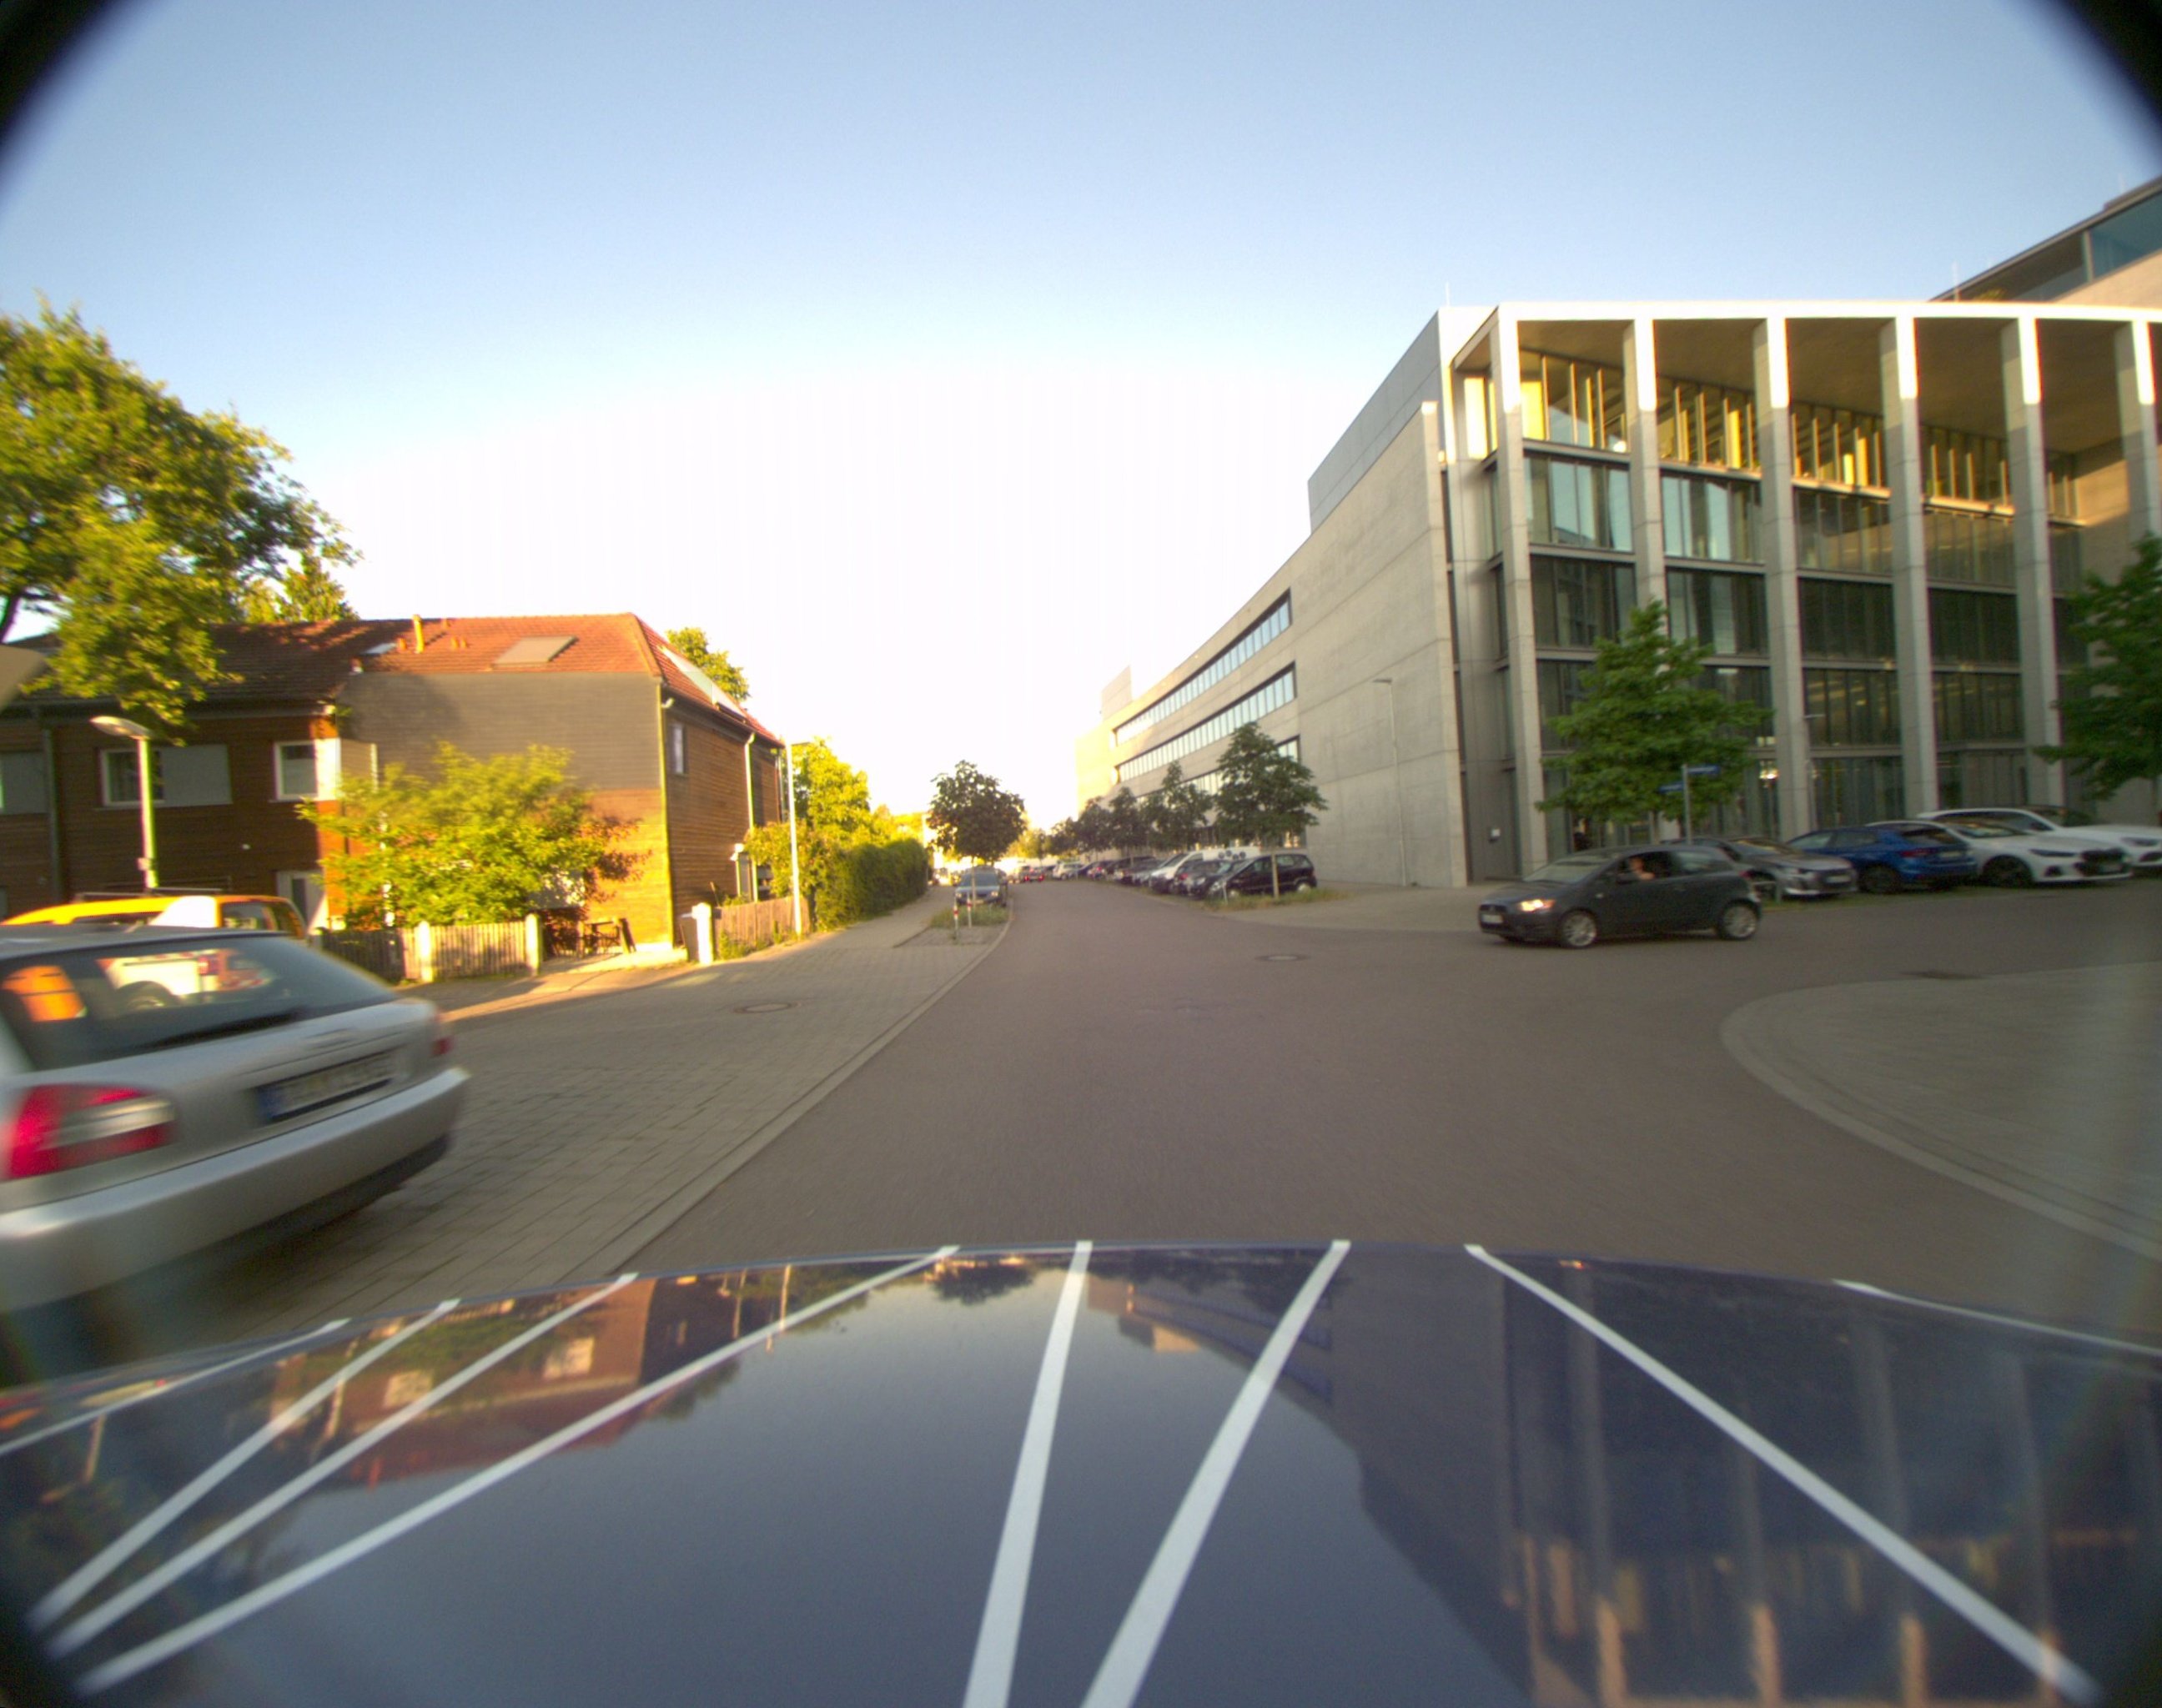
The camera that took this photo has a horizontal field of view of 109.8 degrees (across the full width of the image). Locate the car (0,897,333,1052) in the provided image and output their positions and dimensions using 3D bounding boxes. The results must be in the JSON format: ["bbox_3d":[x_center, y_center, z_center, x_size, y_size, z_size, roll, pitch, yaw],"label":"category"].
[{"bbox_3d":[-13.363,1.625,10.522,3.952,1.755,1.782,-3,-1,-7],"label":"car"}]

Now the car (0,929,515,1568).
[{"bbox_3d":[-4.746,1.121,2.611,4.067,1.399,1.896,-2,0,-4],"label":"car"}]

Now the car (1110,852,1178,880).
[{"bbox_3d":[3.878,0.752,46.915,3.813,1.353,1.798,-5,0,-6],"label":"car"}]

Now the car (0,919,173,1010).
[{"bbox_3d":[-20.968,2.204,14.895,1.956,1.447,3.608,-3,0,-2],"label":"car"}]

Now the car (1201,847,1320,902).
[{"bbox_3d":[6.272,0.698,26.752,3.655,1.538,1.725,-5,0,-1],"label":"car"}]

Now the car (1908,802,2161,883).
[{"bbox_3d":[22.479,-0.300,17.710,1.649,1.619,4.133,-4,2,-7],"label":"car"}]

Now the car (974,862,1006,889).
[{"bbox_3d":[-5.561,1.275,46.759,1.771,1.454,4.366,-3,0,-5],"label":"car"}]

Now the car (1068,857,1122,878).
[{"bbox_3d":[1.118,1.084,62.399,4.029,1.340,1.798,-5,0,-12],"label":"car"}]

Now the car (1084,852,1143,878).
[{"bbox_3d":[2.480,0.815,57.557,4.029,1.574,1.798,-5,0,-12],"label":"car"}]

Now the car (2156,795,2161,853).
[{"bbox_3d":[29.950,-0.807,18.457,1.649,1.565,4.133,-4,2,-7],"label":"car"}]

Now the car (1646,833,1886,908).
[{"bbox_3d":[15.023,0.289,16.966,1.649,1.378,3.815,-4,2,-7],"label":"car"}]

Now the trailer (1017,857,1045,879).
[{"bbox_3d":[-4.127,1.130,62.052,1.701,1.611,3.761,-3,0,-12],"label":"trailer"}]

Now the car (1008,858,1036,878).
[{"bbox_3d":[-5.147,1.200,66.190,1.765,1.611,4.775,-3,0,-12],"label":"car"}]

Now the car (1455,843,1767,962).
[{"bbox_3d":[8.129,0.699,11.845,3.735,1.486,1.649,-4,0,-5],"label":"car"}]

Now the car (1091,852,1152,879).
[{"bbox_3d":[2.925,0.807,55.353,4.029,1.574,1.798,-5,0,-12],"label":"car"}]

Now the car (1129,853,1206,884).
[{"bbox_3d":[4.715,0.778,41.707,3.813,1.353,1.798,-5,0,-6],"label":"car"}]

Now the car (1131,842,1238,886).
[{"bbox_3d":[5.357,0.510,39.650,5.084,1.816,1.888,-5,1,-6],"label":"car"}]

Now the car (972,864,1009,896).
[{"bbox_3d":[-4.712,1.335,40.222,1.771,1.454,4.366,-3,0,-5],"label":"car"}]

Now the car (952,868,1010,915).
[{"bbox_3d":[-3.611,1.320,28.056,1.681,1.454,4.367,-3,0,-2],"label":"car"}]

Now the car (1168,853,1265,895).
[{"bbox_3d":[5.643,0.808,31.943,3.655,1.416,1.725,-5,0,-2],"label":"car"}]

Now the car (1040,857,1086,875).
[{"bbox_3d":[-1.744,1.144,72.420,4.029,1.340,1.798,-5,0,-12],"label":"car"}]

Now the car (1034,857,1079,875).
[{"bbox_3d":[-2.413,1.163,74.772,4.029,1.340,1.798,-5,0,-12],"label":"car"}]

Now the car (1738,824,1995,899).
[{"bbox_3d":[17.542,0.114,17.269,1.561,1.420,3.901,-4,2,-7],"label":"car"}]

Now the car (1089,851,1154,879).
[{"bbox_3d":[2.806,0.758,52.473,4.029,1.574,1.798,-5,0,-12],"label":"car"}]

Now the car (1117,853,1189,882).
[{"bbox_3d":[4.153,0.775,44.465,3.813,1.353,1.798,-5,0,-6],"label":"car"}]

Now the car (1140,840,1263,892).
[{"bbox_3d":[5.455,0.538,34.678,5.084,1.870,1.888,-5,1,-6],"label":"car"}]

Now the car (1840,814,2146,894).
[{"bbox_3d":[19.965,-0.049,16.962,1.649,1.483,4.133,-4,2,-7],"label":"car"}]

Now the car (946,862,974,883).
[{"bbox_3d":[-9.254,1.372,58.346,1.771,1.454,4.366,-3,0,-5],"label":"car"}]

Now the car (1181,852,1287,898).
[{"bbox_3d":[5.865,0.787,29.374,3.655,1.416,1.725,-5,0,-1],"label":"car"}]

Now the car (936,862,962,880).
[{"bbox_3d":[-11.303,1.426,65.408,1.771,1.454,4.366,-3,0,-5],"label":"car"}]
